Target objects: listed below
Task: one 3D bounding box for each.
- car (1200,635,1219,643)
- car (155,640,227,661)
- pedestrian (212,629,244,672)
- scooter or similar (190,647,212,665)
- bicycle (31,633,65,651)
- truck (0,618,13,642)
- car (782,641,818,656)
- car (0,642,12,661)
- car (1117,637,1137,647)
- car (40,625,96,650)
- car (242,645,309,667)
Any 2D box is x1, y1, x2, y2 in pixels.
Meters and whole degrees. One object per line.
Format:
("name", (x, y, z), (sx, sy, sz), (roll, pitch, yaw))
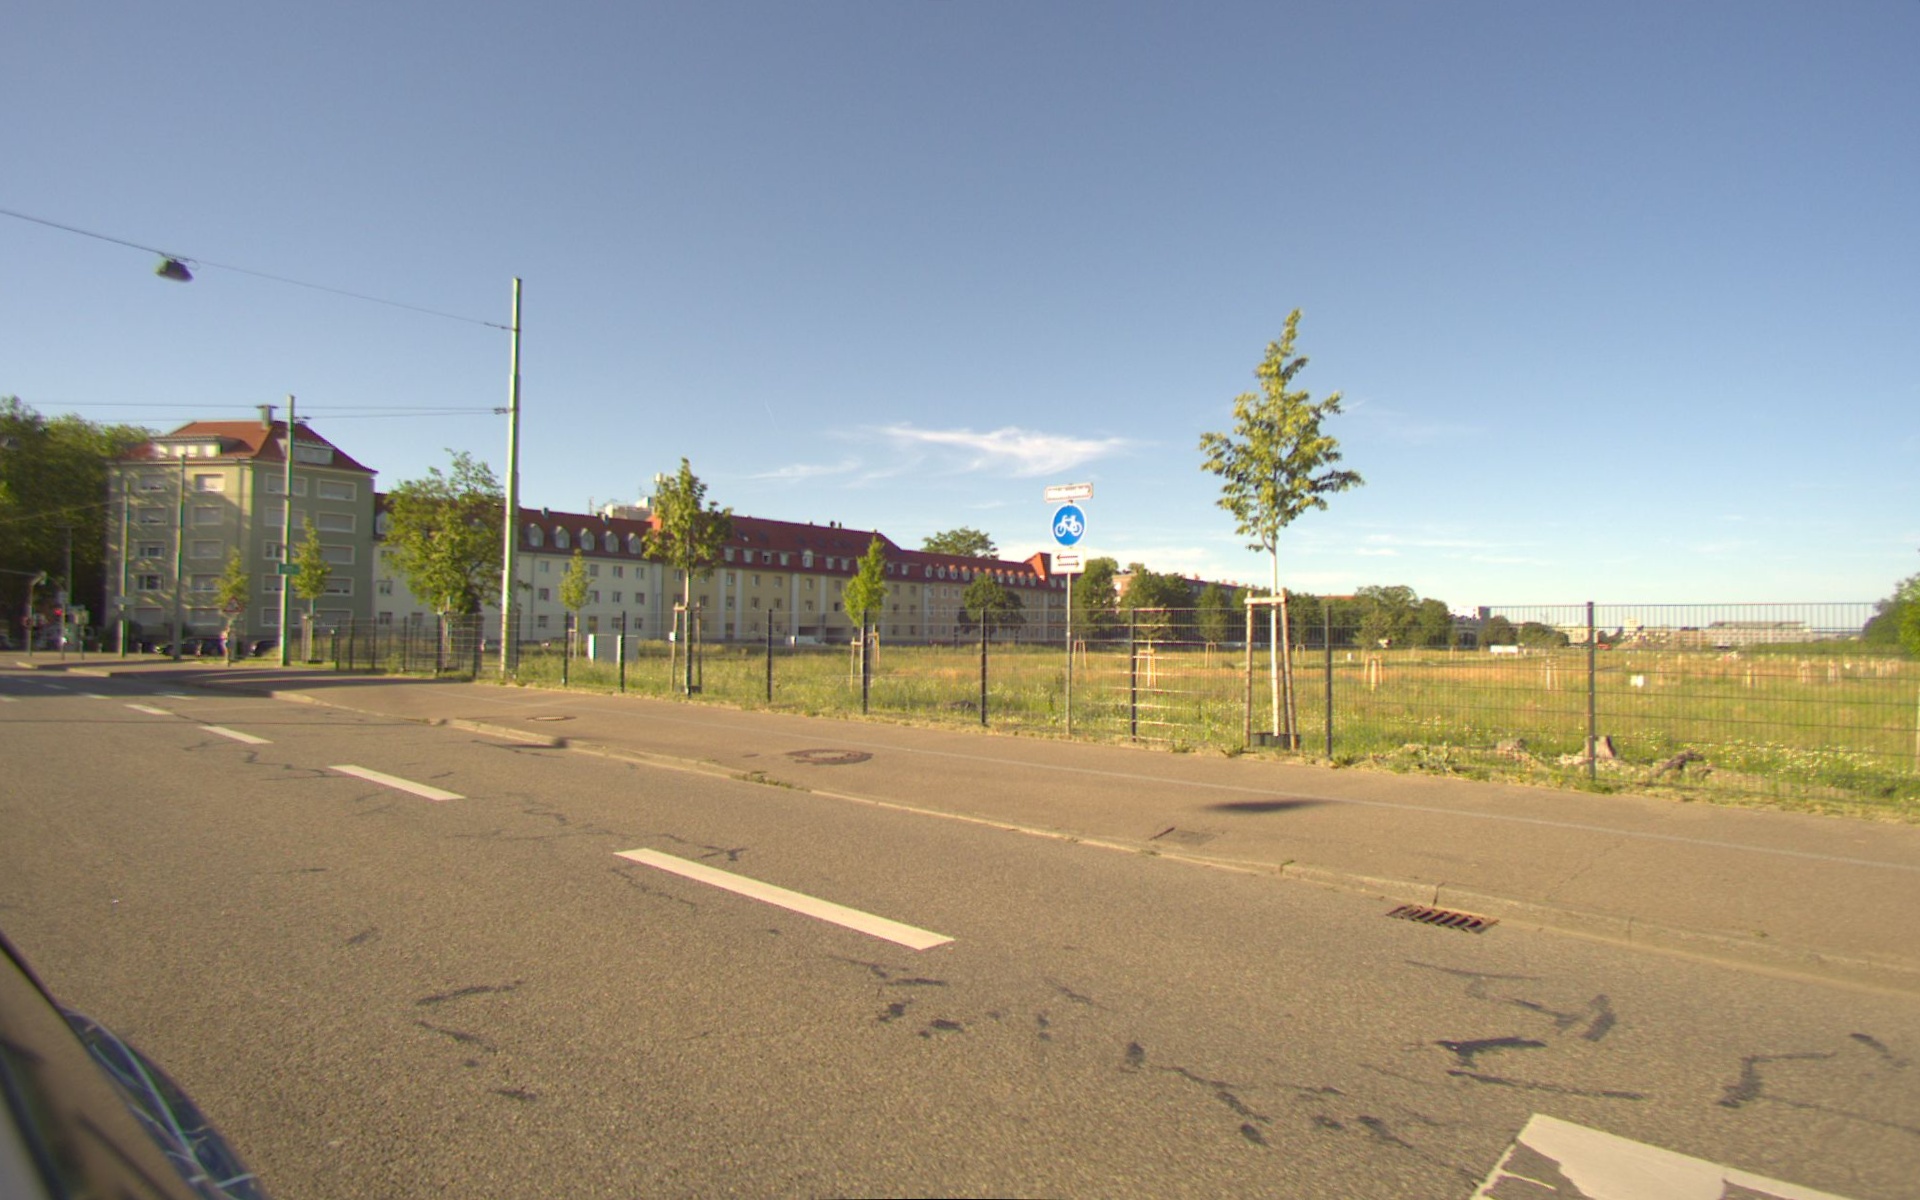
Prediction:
("car", (49.168, 7.676, 199.495), (1.942, 1.505, 4.148), (-4, -5, 42))
("car", (-59.477, 3.903, 78.338), (1.942, 1.505, 4.148), (-4, -5, 42))
("pedestrian", (-28.841, 1.995, 39.877), (1.181, 1.641, 0.823), (-2, -1, 44))
("scooter or similar", (-51.750, 3.848, 69.025), (0.586, 1.153, 1.268), (1, -7, -8))
("bicycle", (-79.392, 3.661, 88.132), (2.017, 1.473, 0.728), (3, -1, -20))
("truck", (-127.069, 3.946, 132.747), (2.304, 2.995, 8.057), (0, 0, -30))
("car", (-18.064, 5.477, 114.540), (1.698, 1.542, 3.851), (-6, -6, 38))
("car", (-88.399, 4.651, 91.105), (4.078, 1.653, 1.780), (0, 0, -27))
("car", (27.847, 7.071, 168.678), (1.698, 1.542, 3.851), (-6, -6, 38))
("car", (-98.378, 4.078, 111.665), (4.345, 2.647, 1.976), (0, 0, -27))
("car", (-51.592, 4.229, 76.346), (1.698, 1.542, 3.851), (-6, -6, 38))
